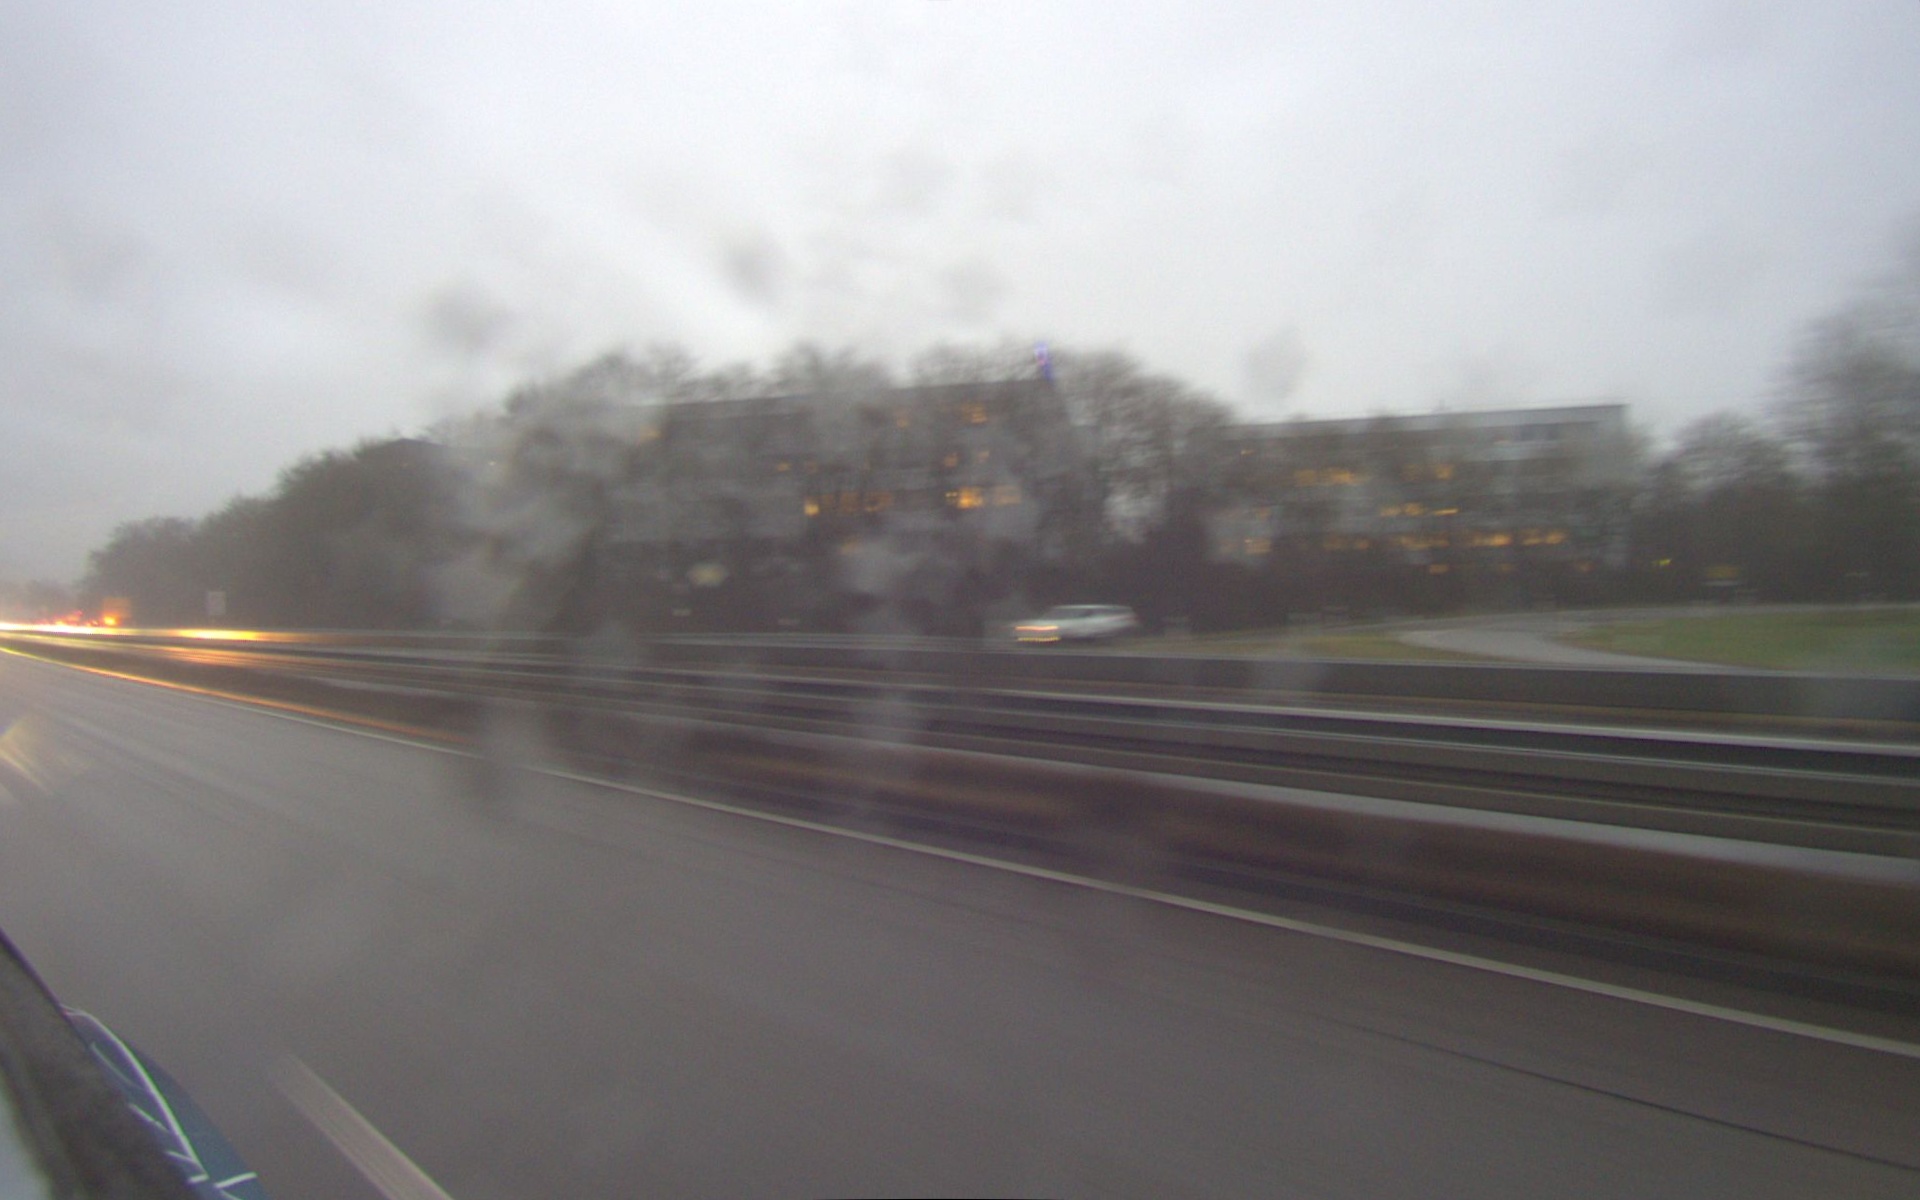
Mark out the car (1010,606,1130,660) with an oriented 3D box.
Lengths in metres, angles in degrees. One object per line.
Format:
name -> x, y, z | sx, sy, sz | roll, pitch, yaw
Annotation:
car -> 4.060, 1.170, 37.444 | 3.931, 1.697, 1.859 | -3, 1, -21

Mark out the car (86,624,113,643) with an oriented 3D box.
car -> -87.954, 3.391, 103.396 | 4.208, 1.799, 1.626 | -2, 1, 44
